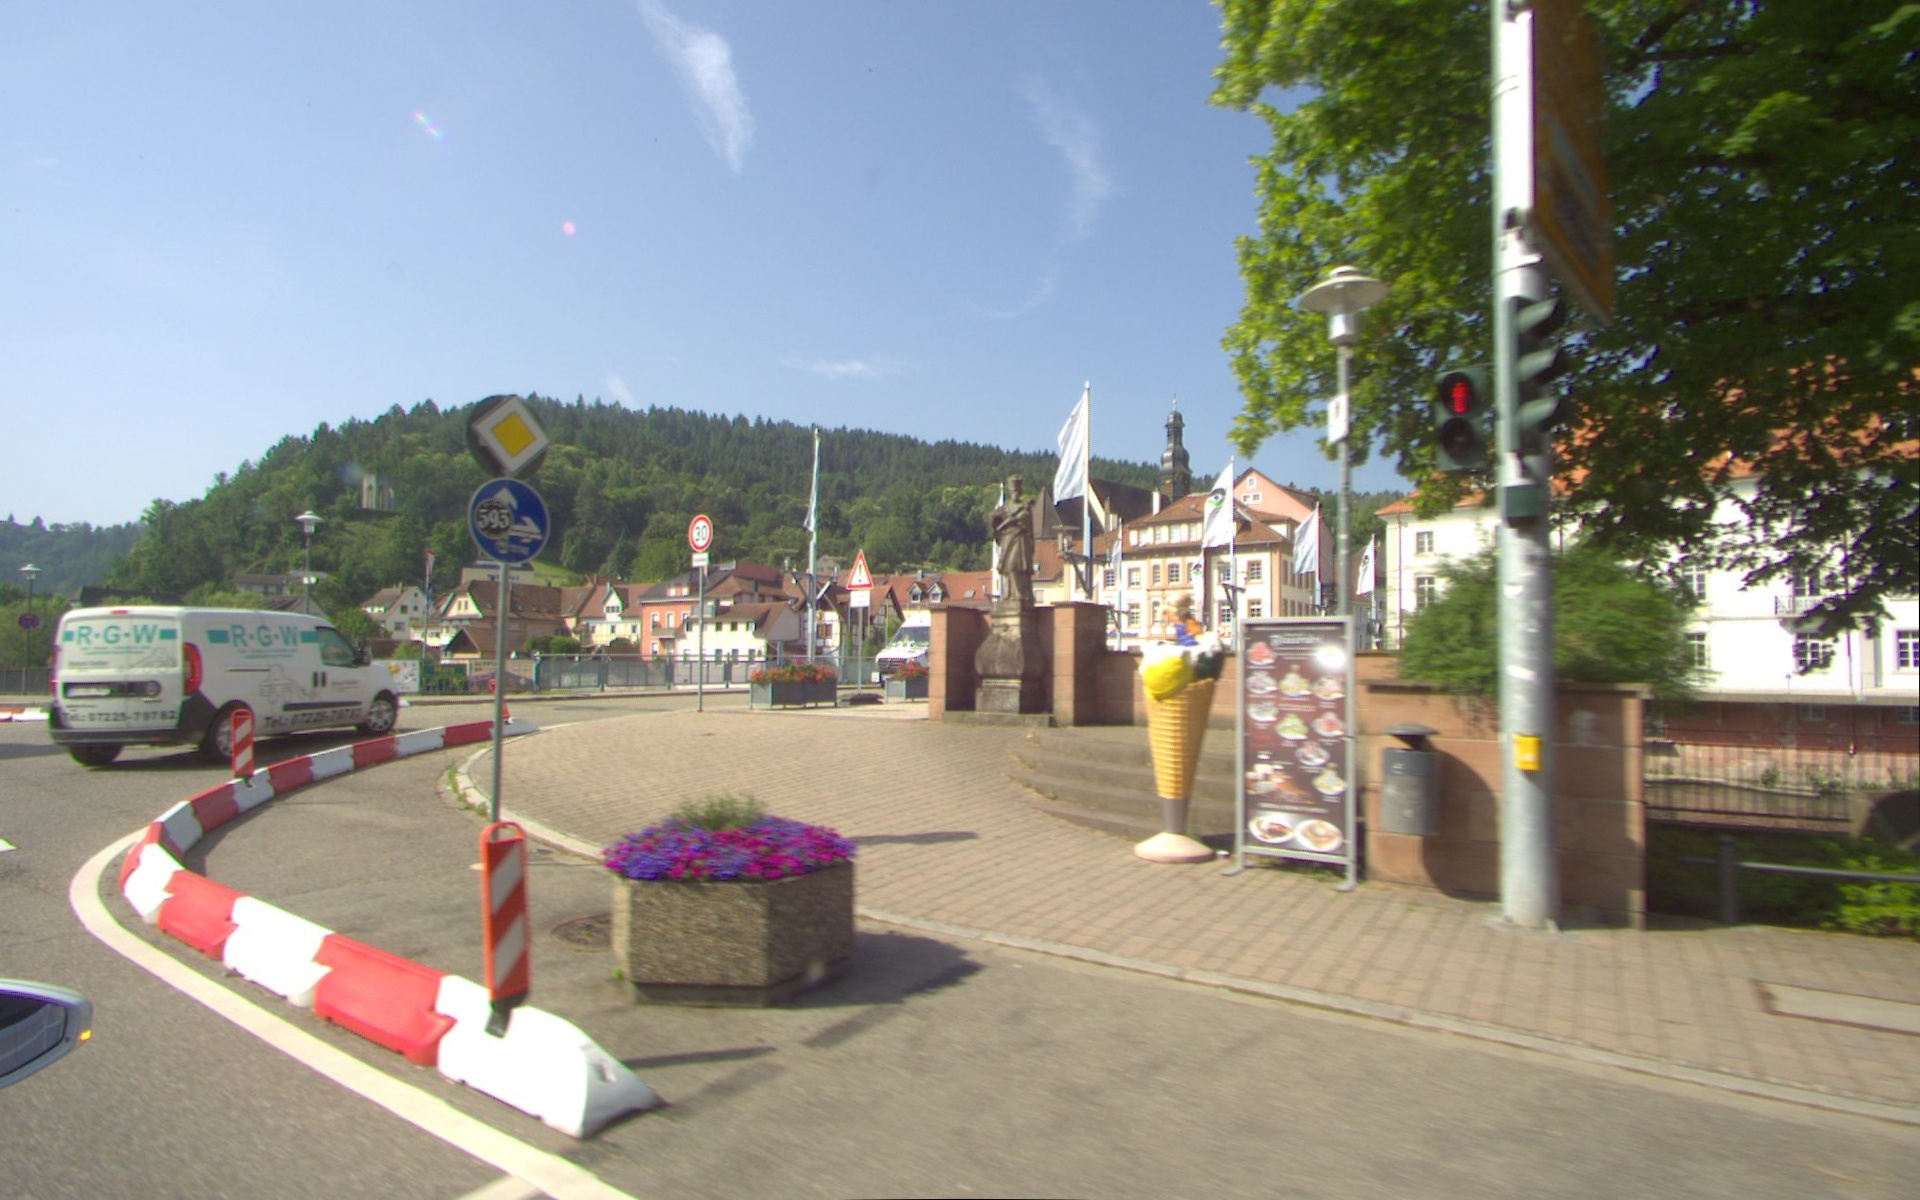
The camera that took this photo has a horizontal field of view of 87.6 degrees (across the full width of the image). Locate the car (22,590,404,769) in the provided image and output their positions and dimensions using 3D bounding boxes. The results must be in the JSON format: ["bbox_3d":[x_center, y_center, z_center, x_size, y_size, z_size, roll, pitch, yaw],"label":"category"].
[{"bbox_3d":[-9.485,0.927,13.276,1.814,1.931,4.315,1,-1,0],"label":"car"}]

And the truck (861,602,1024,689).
[{"bbox_3d":[-0.421,1.572,34.954,2.083,2.732,7.096,-2,-3,33],"label":"truck"}]

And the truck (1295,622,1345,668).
[{"bbox_3d":[21.793,2.759,60.566,1.842,2.617,4.239,-1,-4,34],"label":"truck"}]
